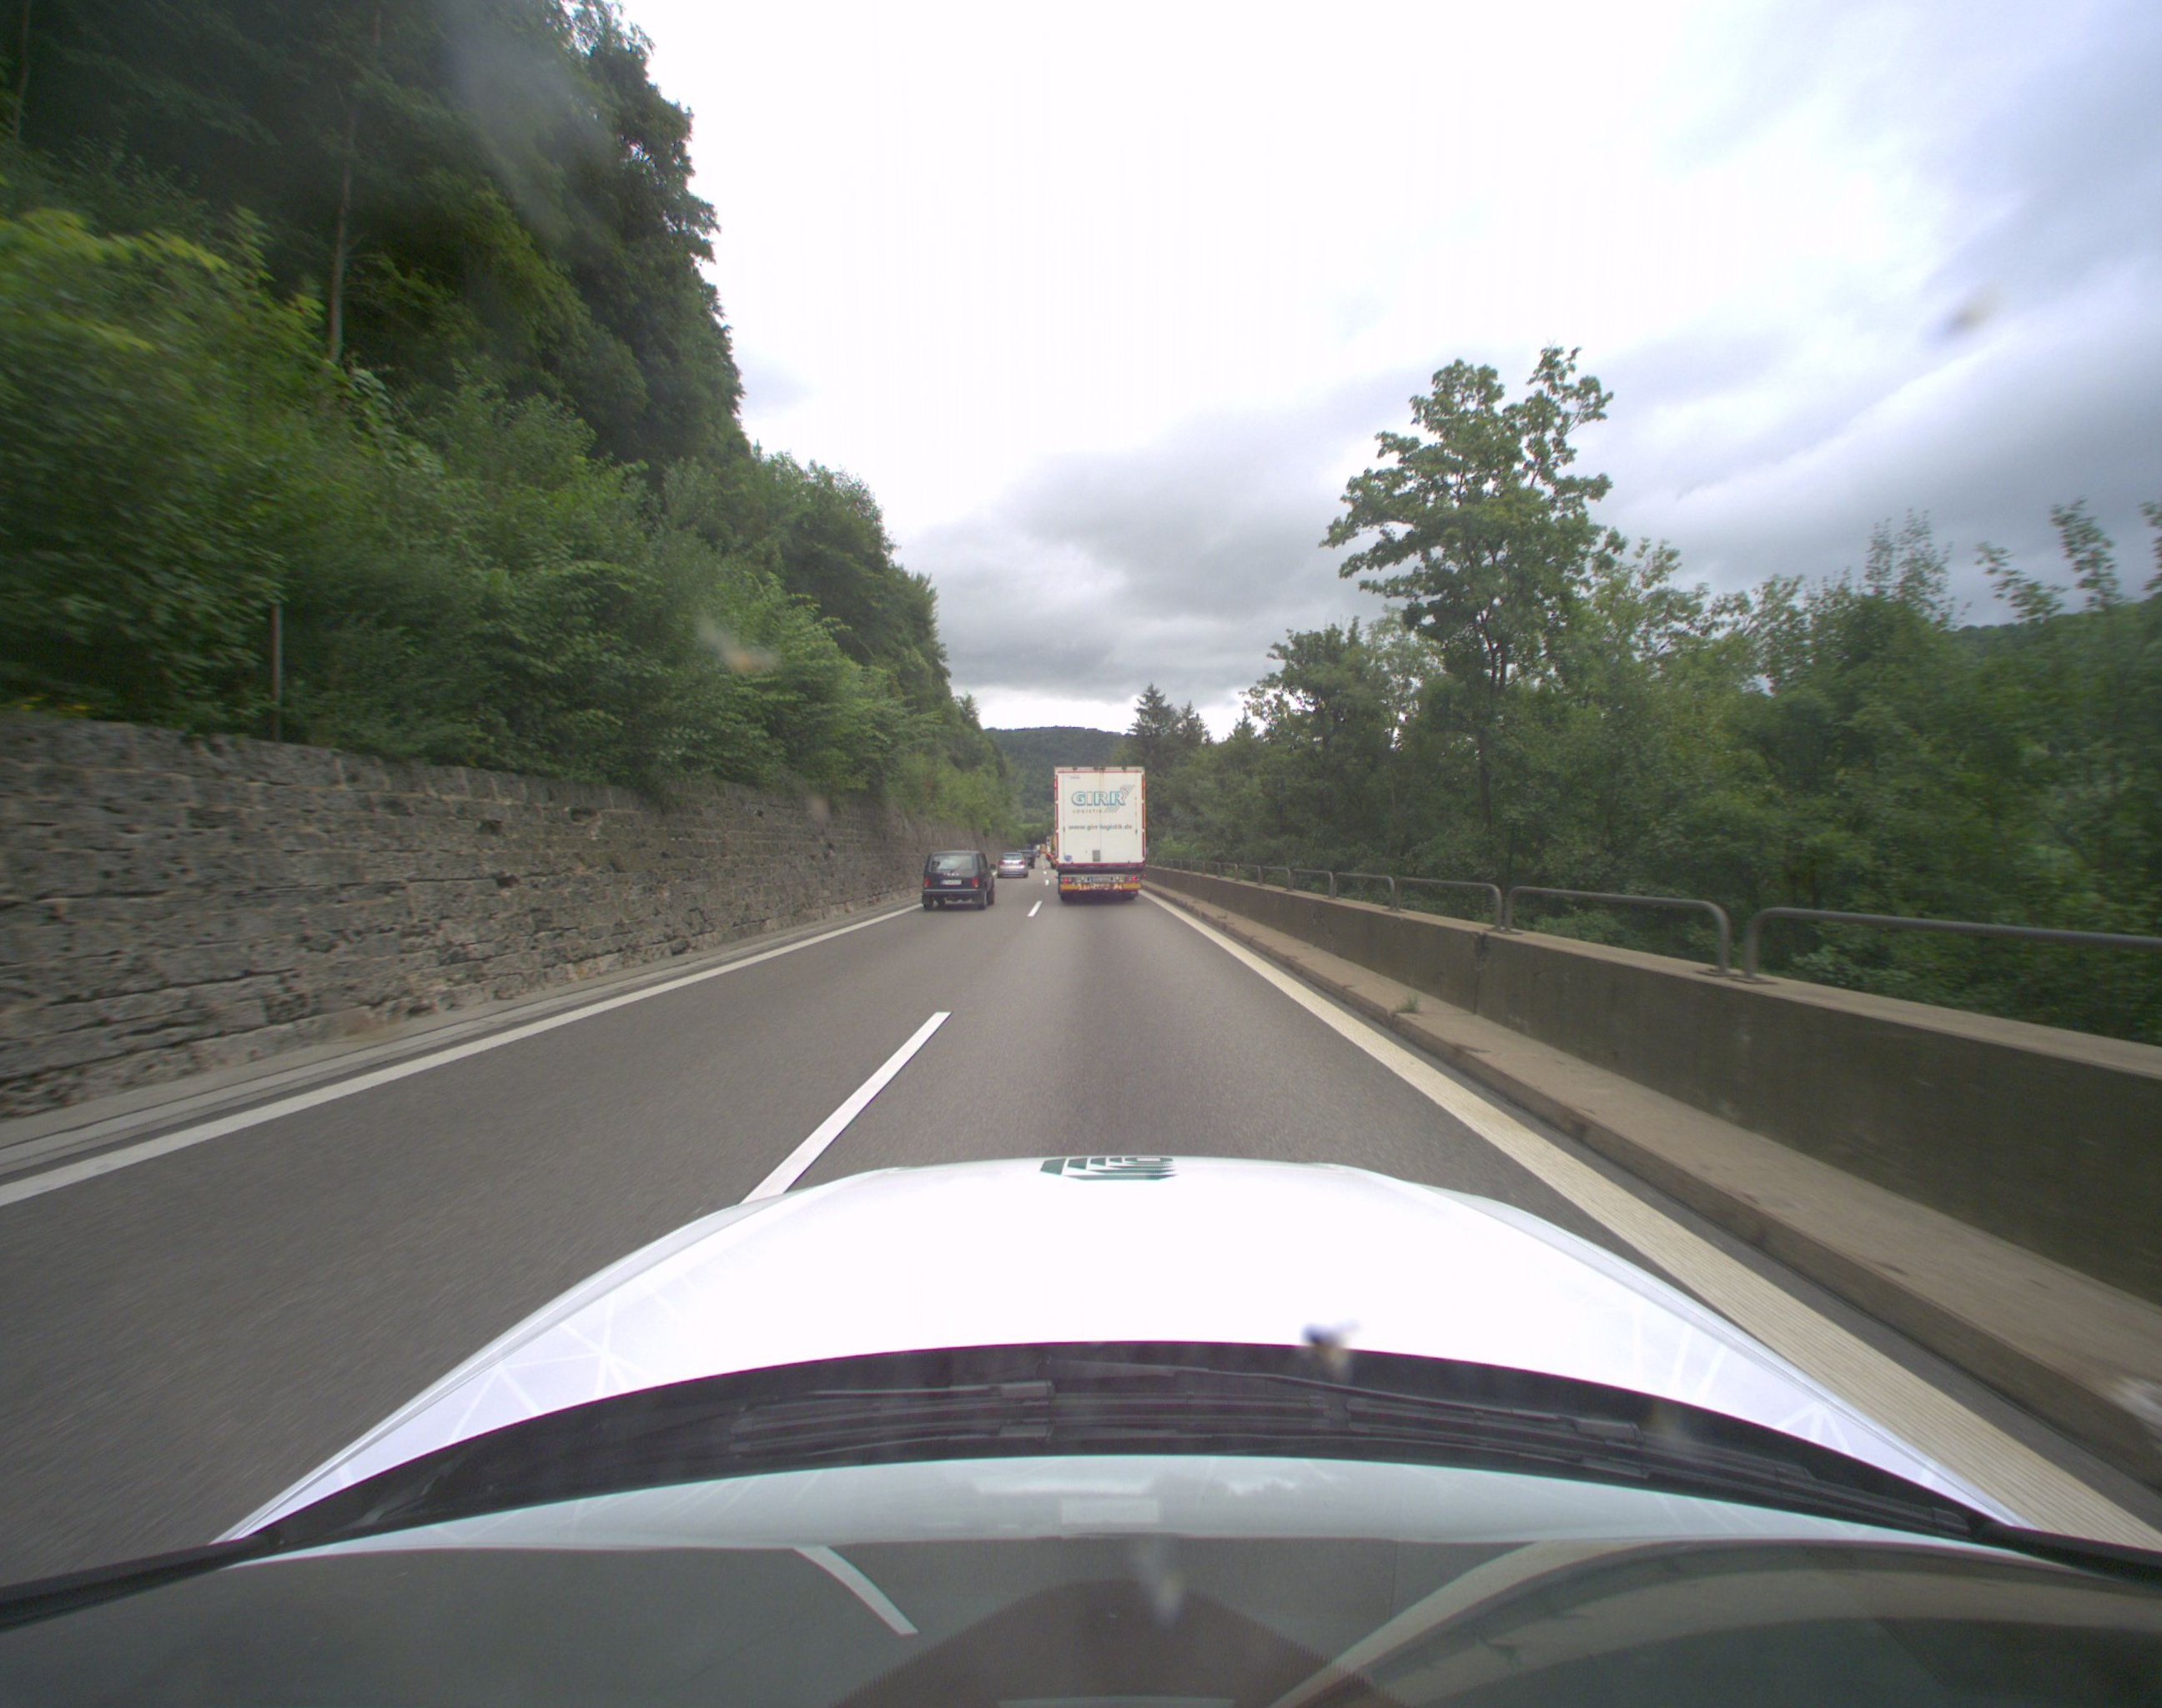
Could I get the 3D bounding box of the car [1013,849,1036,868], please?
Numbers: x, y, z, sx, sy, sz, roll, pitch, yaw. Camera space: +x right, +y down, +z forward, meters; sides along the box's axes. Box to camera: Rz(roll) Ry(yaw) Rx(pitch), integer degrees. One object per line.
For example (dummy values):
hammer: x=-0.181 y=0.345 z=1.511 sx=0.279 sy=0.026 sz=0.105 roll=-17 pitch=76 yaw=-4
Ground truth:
car: x=-4.892 y=0.416 z=71.112 sx=1.912 sy=1.595 sz=4.174 roll=0 pitch=0 yaw=-3

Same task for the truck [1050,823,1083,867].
truck: x=-1.342 y=-0.707 z=71.313 sx=2.481 sy=3.571 sz=9.297 roll=0 pitch=0 yaw=-3

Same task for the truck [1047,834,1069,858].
truck: x=-3.955 y=-1.293 z=141.625 sx=3.500 sy=3.847 sz=11.772 roll=0 pitch=-1 yaw=0

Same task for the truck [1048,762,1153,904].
truck: x=0.571 y=-0.579 z=27.376 sx=2.899 sy=3.960 sz=9.278 roll=0 pitch=0 yaw=0

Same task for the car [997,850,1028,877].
car: x=-4.016 y=0.554 z=48.190 sx=1.725 sy=1.486 sz=3.996 roll=0 pitch=0 yaw=-3

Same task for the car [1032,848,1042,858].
car: x=-9.305 y=-0.134 z=174.056 sx=1.988 sy=2.014 sz=3.997 roll=0 pitch=-1 yaw=-2

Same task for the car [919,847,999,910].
car: x=-3.365 y=0.644 z=23.133 sx=1.664 sy=1.639 sz=4.067 roll=0 pitch=0 yaw=0

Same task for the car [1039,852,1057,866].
car: x=-4.656 y=0.748 z=115.318 sx=1.984 sy=2.014 sz=4.005 roll=0 pitch=-1 yaw=5
